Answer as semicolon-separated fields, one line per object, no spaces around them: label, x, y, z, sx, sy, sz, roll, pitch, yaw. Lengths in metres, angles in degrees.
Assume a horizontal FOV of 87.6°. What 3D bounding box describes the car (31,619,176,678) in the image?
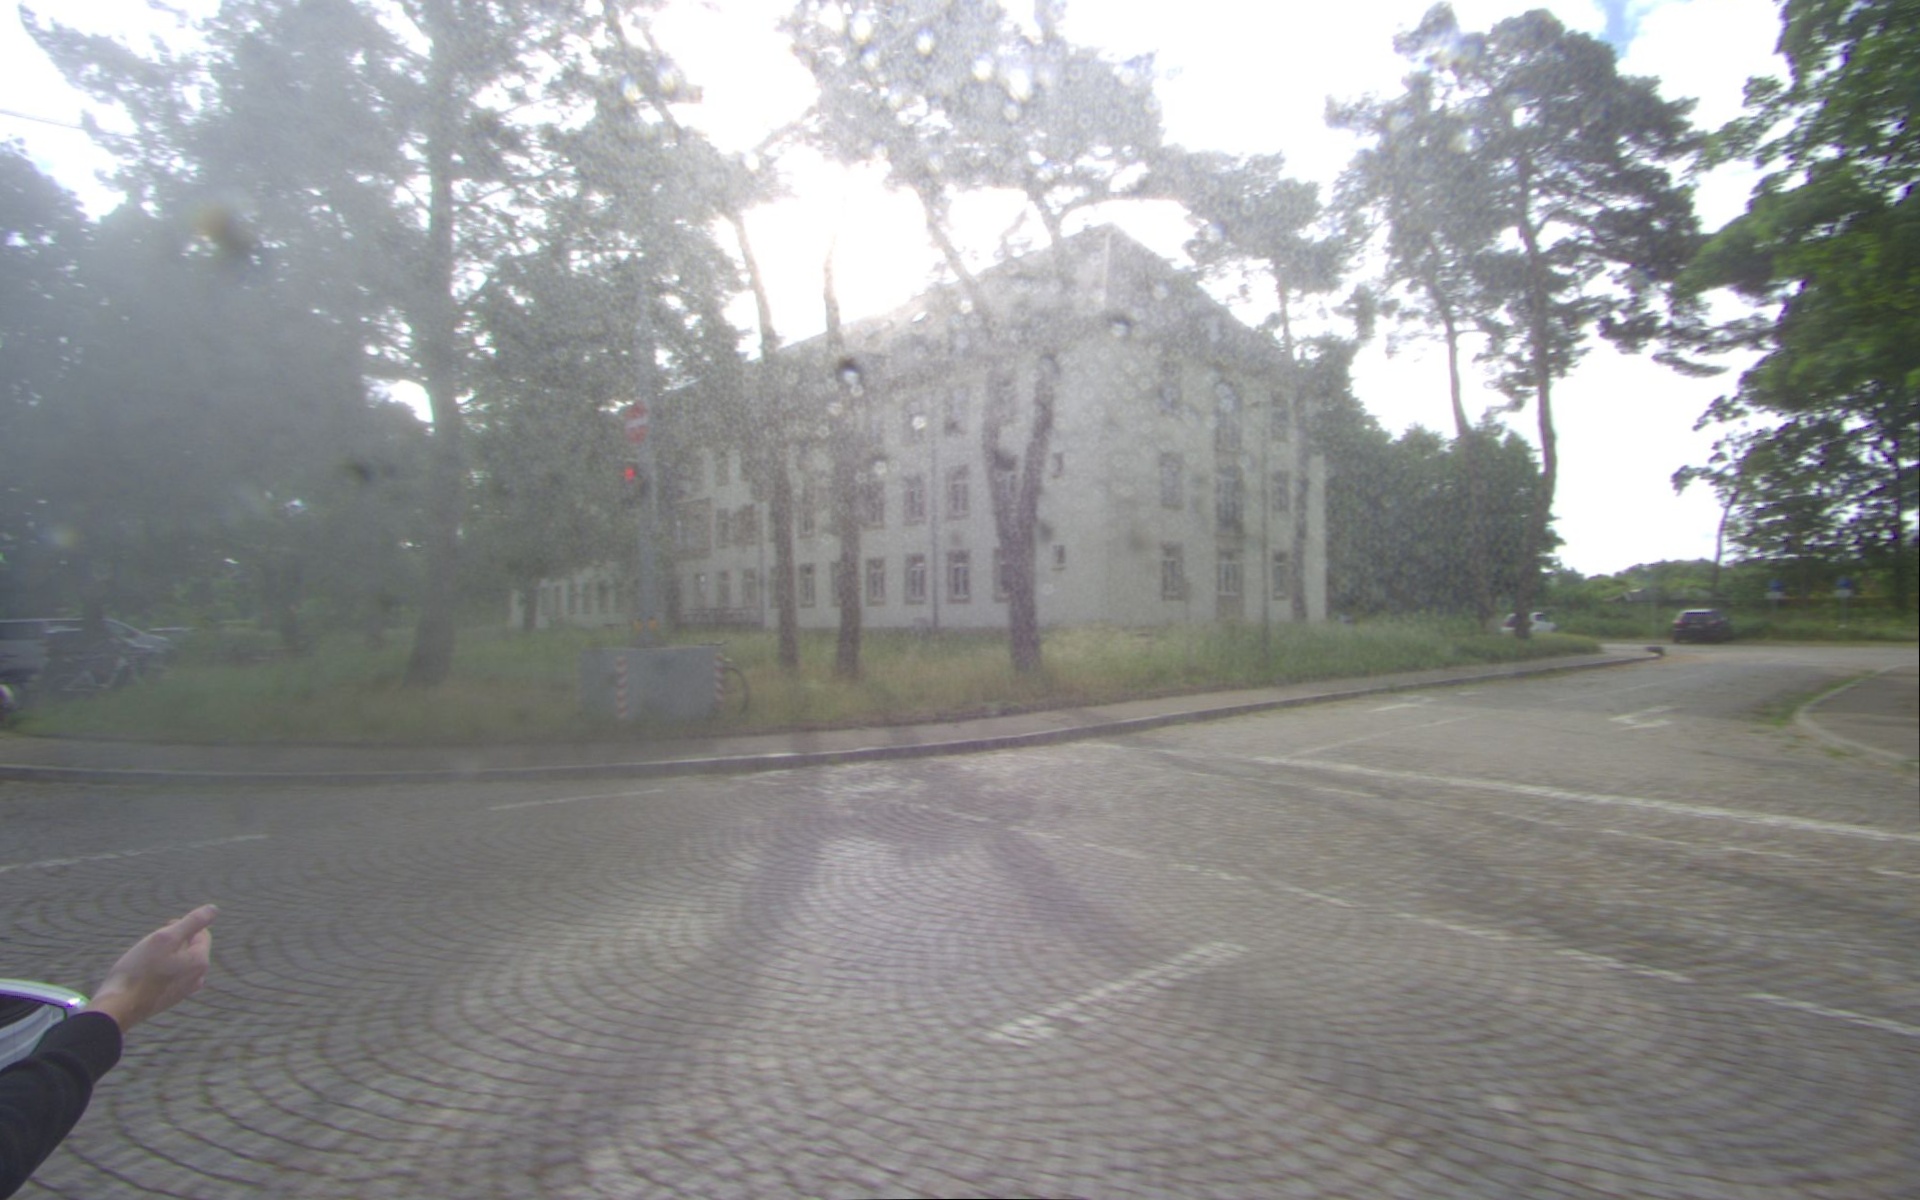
car;-25.534;1.427;29.904;3.204;1.641;1.919;2;-2;-43

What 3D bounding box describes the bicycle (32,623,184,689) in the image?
bicycle;-19.085;1.216;22.485;2.551;1.389;0.941;0;-1;-44

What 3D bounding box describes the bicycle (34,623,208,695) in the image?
bicycle;-17.728;1.203;21.233;2.783;1.389;0.942;0;-1;-43

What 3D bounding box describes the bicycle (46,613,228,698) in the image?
bicycle;-16.616;1.075;20.284;2.783;1.604;0.942;0;-1;-43

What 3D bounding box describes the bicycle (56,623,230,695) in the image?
bicycle;-17.136;1.198;21.058;2.783;1.389;0.942;0;-1;-43

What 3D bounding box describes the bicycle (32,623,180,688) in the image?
bicycle;-19.650;1.237;23.096;2.551;1.389;0.941;0;-1;-44

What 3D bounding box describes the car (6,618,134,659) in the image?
car;-37.419;1.597;42.159;3.962;1.621;1.686;0;-1;-45

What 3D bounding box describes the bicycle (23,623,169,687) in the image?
bicycle;-20.323;1.253;23.605;2.551;1.389;0.941;0;-1;-44

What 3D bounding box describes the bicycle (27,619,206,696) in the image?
bicycle;-16.295;1.074;19.410;2.601;1.385;0.866;0;-1;-43

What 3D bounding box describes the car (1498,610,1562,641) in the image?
car;29.462;1.300;51.729;3.654;1.553;1.758;0;-1;-41

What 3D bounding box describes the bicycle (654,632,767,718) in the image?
bicycle;-3.516;1.019;14.046;0.640;1.077;1.815;-6;3;-45

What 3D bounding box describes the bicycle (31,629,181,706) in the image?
bicycle;-16.029;1.232;18.831;2.098;1.323;0.866;0;-1;-43

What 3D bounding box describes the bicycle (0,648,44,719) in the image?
bicycle;-14.754;1.269;15.457;0.894;1.009;1.960;0;-1;-43

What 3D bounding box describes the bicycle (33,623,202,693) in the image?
bicycle;-18.341;1.224;21.873;2.783;1.389;0.942;0;-1;-43

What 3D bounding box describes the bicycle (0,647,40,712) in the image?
bicycle;-16.192;1.320;16.951;0.721;1.009;1.964;0;-1;-37

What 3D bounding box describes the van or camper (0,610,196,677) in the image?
van or camper;-28.211;1.320;31.935;2.208;1.983;5.724;-1;-1;35

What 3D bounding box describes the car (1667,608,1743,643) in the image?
car;33.941;1.134;45.569;3.957;1.553;1.983;0;-1;-41
